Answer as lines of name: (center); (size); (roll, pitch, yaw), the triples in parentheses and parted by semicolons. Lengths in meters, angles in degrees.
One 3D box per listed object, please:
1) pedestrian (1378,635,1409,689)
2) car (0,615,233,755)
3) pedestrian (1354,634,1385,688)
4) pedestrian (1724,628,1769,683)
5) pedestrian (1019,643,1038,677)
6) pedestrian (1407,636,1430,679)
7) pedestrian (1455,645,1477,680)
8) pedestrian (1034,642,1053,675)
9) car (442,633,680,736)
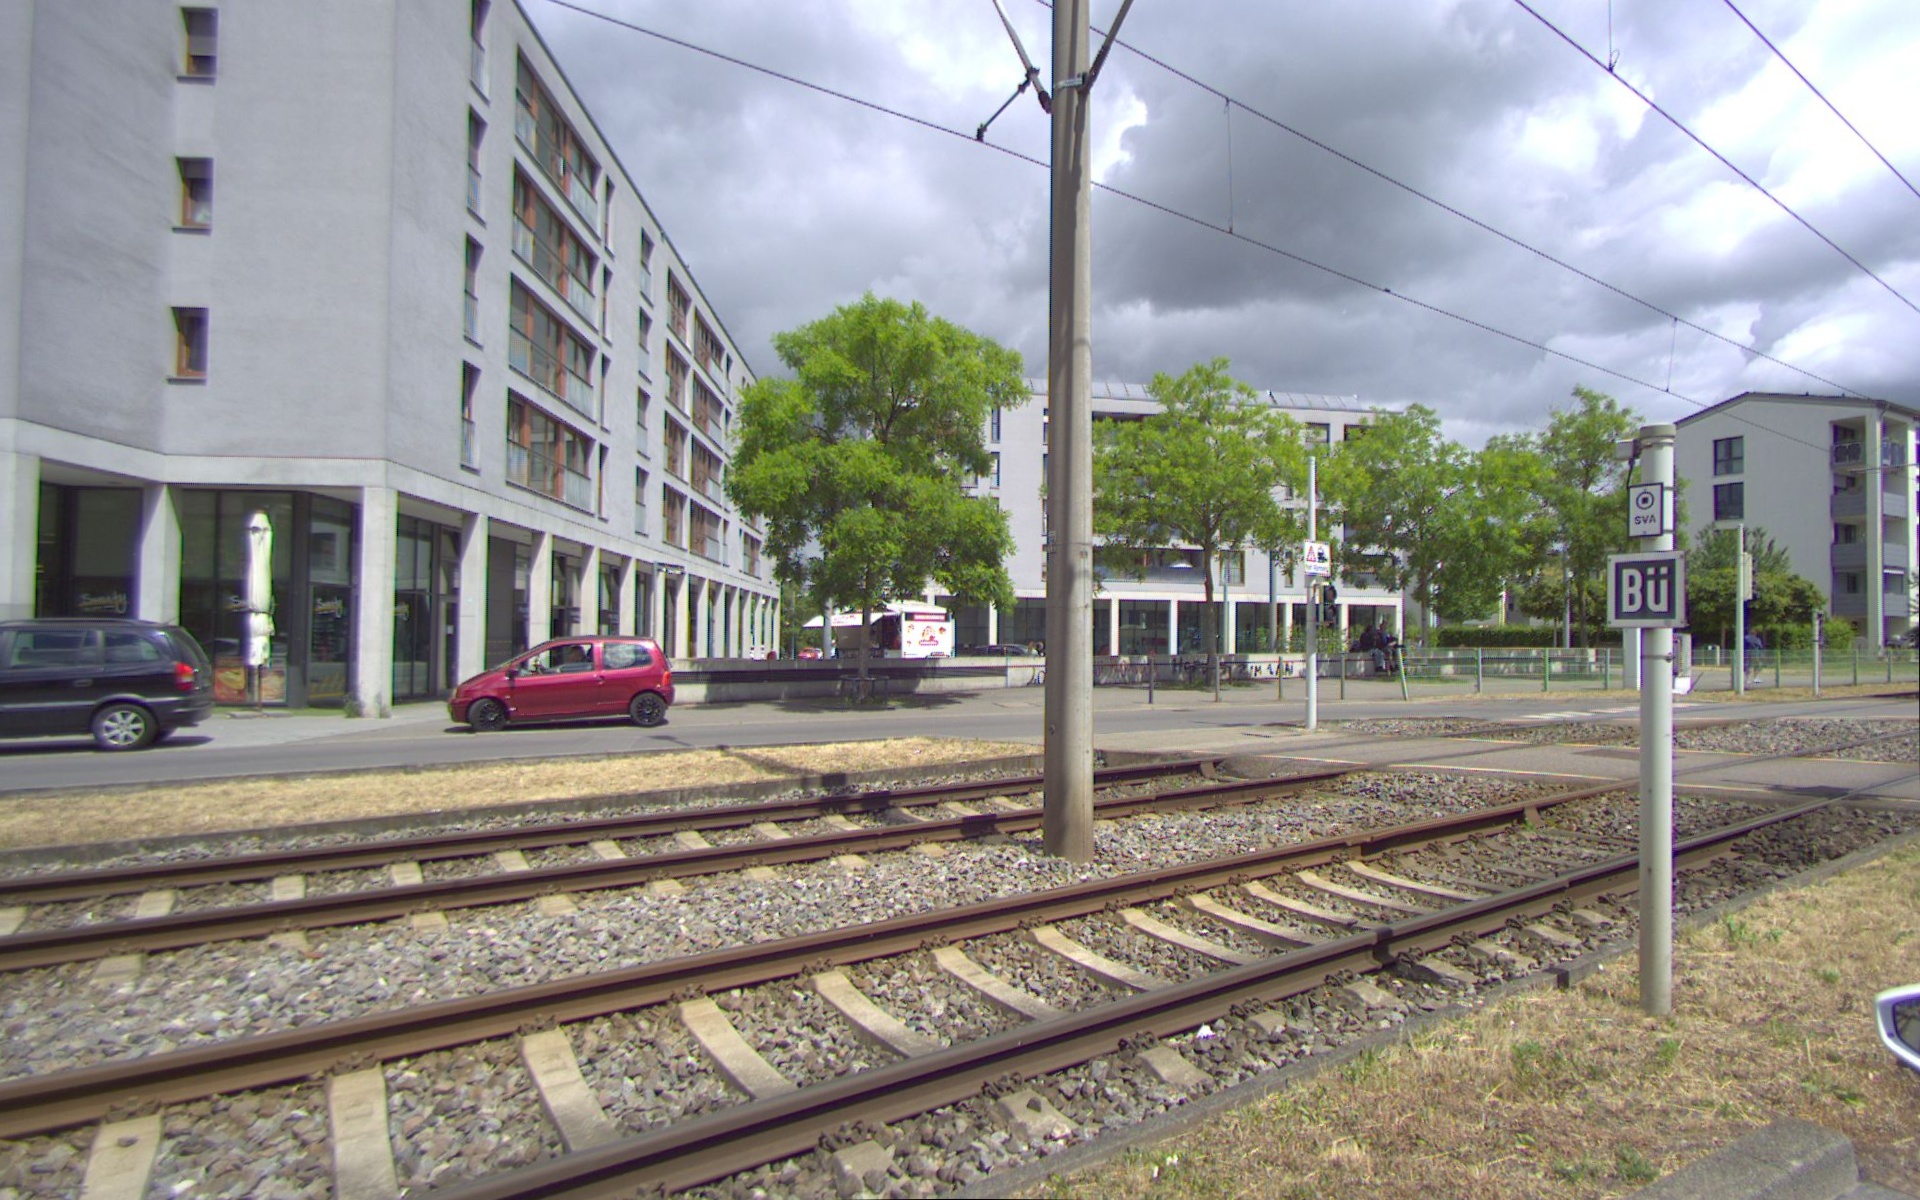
pedestrian: (13.214, 1.885, 30.637); (0.550, 1.593, 0.621); (0, -2, -24)
car: (-12.085, 1.078, 12.997); (4.047, 1.669, 1.987); (0, -3, -28)
pedestrian: (12.332, 1.844, 30.238); (0.549, 1.593, 0.622); (0, -2, -19)
pedestrian: (24.560, 1.724, 31.359); (0.858, 1.683, 0.747); (0, -2, -26)
pedestrian: (2.257, 1.969, 33.134); (0.566, 1.110, 0.500); (0, -2, -5)
pedestrian: (17.148, 2.148, 37.544); (0.519, 1.567, 0.545); (-1, -2, -9)
pedestrian: (18.457, 2.278, 36.660); (0.449, 1.263, 0.545); (-1, -2, -9)
pedestrian: (2.839, 1.972, 34.027); (0.566, 1.110, 0.500); (0, -2, -5)
car: (-6.327, 1.299, 16.084); (3.375, 1.445, 1.610); (0, -2, -24)
